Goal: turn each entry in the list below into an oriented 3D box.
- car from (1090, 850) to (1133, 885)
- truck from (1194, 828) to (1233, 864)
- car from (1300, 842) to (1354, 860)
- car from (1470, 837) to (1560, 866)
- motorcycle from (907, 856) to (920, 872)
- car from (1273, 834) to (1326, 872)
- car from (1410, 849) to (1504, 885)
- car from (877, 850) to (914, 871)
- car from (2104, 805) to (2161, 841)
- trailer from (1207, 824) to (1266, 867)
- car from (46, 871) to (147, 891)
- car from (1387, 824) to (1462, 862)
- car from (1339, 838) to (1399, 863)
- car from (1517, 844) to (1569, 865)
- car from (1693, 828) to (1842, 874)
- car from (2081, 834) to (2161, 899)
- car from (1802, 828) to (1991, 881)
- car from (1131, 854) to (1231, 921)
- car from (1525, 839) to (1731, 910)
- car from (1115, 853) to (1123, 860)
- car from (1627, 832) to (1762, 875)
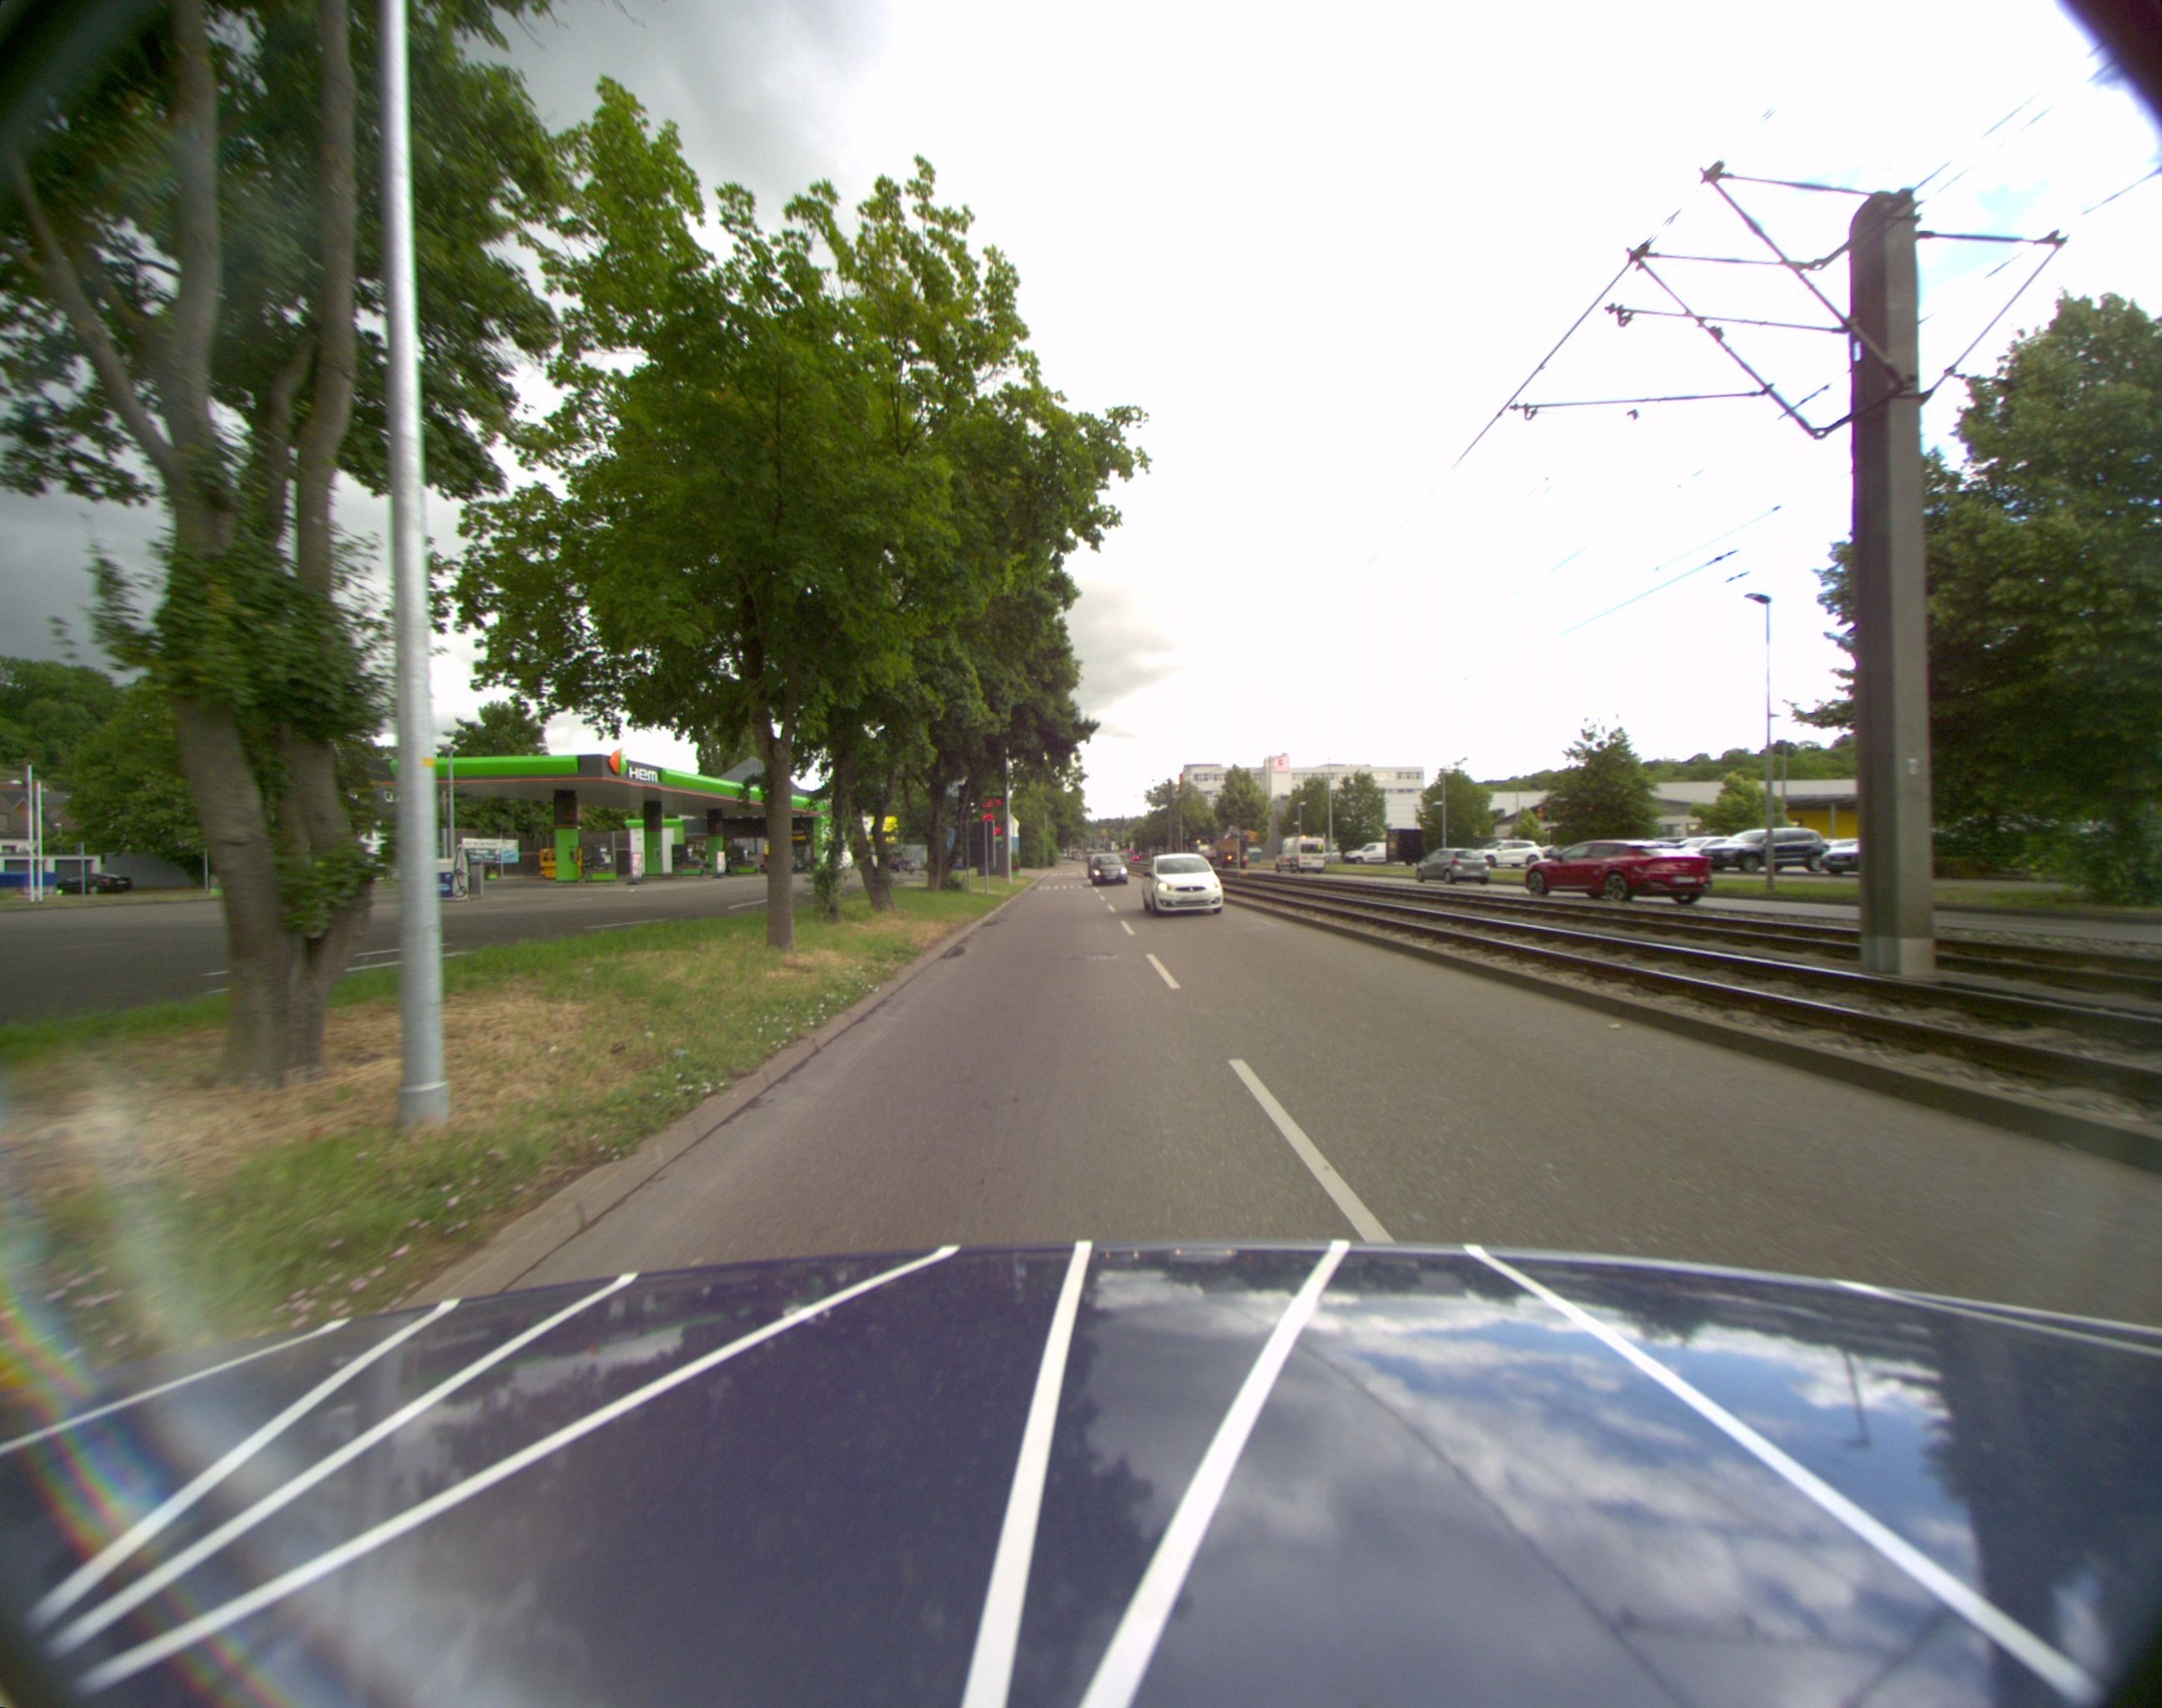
[{"bbox_3d":[1.542,0.669,39.771,1.787,1.614,3.999,-3,0,-3],"label":"car"},{"bbox_3d":[15.082,-0.862,87.214,2.899,3.943,8.630,0,0,-1],"label":"truck"},{"bbox_3d":[24.189,-0.318,74.771,4.611,1.484,2.000,-3,1,2],"label":"car"},{"bbox_3d":[26.574,-0.174,46.570,4.482,1.498,1.795,-3,1,-4],"label":"car"},{"bbox_3d":[-12.785,0.742,58.014,0.704,1.180,2.387,-1,0,-7],"label":"motorcycle"},{"bbox_3d":[15.388,-0.062,53.875,1.874,2.484,5.998,0,0,-2],"label":"car"},{"bbox_3d":[16.211,0.525,33.007,1.999,1.474,3.999,1,0,-2],"label":"car"},{"bbox_3d":[-15.500,0.501,63.651,1.999,1.629,4.326,1,0,0],"label":"car"},{"bbox_3d":[52.998,-1.573,37.151,3.738,1.613,1.722,-3,1,-3],"label":"car"},{"bbox_3d":[15.243,-0.812,75.699,2.678,3.874,14.423,1,0,-1],"label":"trailer"},{"bbox_3d":[-65.834,1.809,50.872,3.999,1.212,1.842,-1,0,-6],"label":"car"},{"bbox_3d":[25.155,-0.782,55.720,4.481,2.733,2.288,0,1,-1],"label":"car"},{"bbox_3d":[24.660,-0.303,65.239,4.356,1.908,2.000,-3,1,2],"label":"car"},{"bbox_3d":[36.113,0.012,59.418,4.006,1.399,1.995,-4,1,-35],"label":"car"},{"bbox_3d":[26.340,-0.113,29.244,3.997,1.498,1.937,-3,1,-1],"label":"car"},{"bbox_3d":[26.144,0.195,17.120,4.385,1.346,2.195,-3,0,-1],"label":"car"},{"bbox_3d":[26.055,0.015,24.391,3.997,1.413,1.937,-3,1,-1],"label":"car"},{"bbox_3d":[2.444,0.774,19.548,1.787,1.435,3.999,-3,0,-3],"label":"car"},{"bbox_3d":[13.481,0.448,19.144,1.788,1.573,4.481,0,0,-3],"label":"car"},{"bbox_3d":[12.578,0.890,250.648,1.999,2.002,3.999,-3,0,-3],"label":"car"},{"bbox_3d":[25.594,-0.038,31.803,3.997,1.498,2.002,-3,1,-1],"label":"car"}]
